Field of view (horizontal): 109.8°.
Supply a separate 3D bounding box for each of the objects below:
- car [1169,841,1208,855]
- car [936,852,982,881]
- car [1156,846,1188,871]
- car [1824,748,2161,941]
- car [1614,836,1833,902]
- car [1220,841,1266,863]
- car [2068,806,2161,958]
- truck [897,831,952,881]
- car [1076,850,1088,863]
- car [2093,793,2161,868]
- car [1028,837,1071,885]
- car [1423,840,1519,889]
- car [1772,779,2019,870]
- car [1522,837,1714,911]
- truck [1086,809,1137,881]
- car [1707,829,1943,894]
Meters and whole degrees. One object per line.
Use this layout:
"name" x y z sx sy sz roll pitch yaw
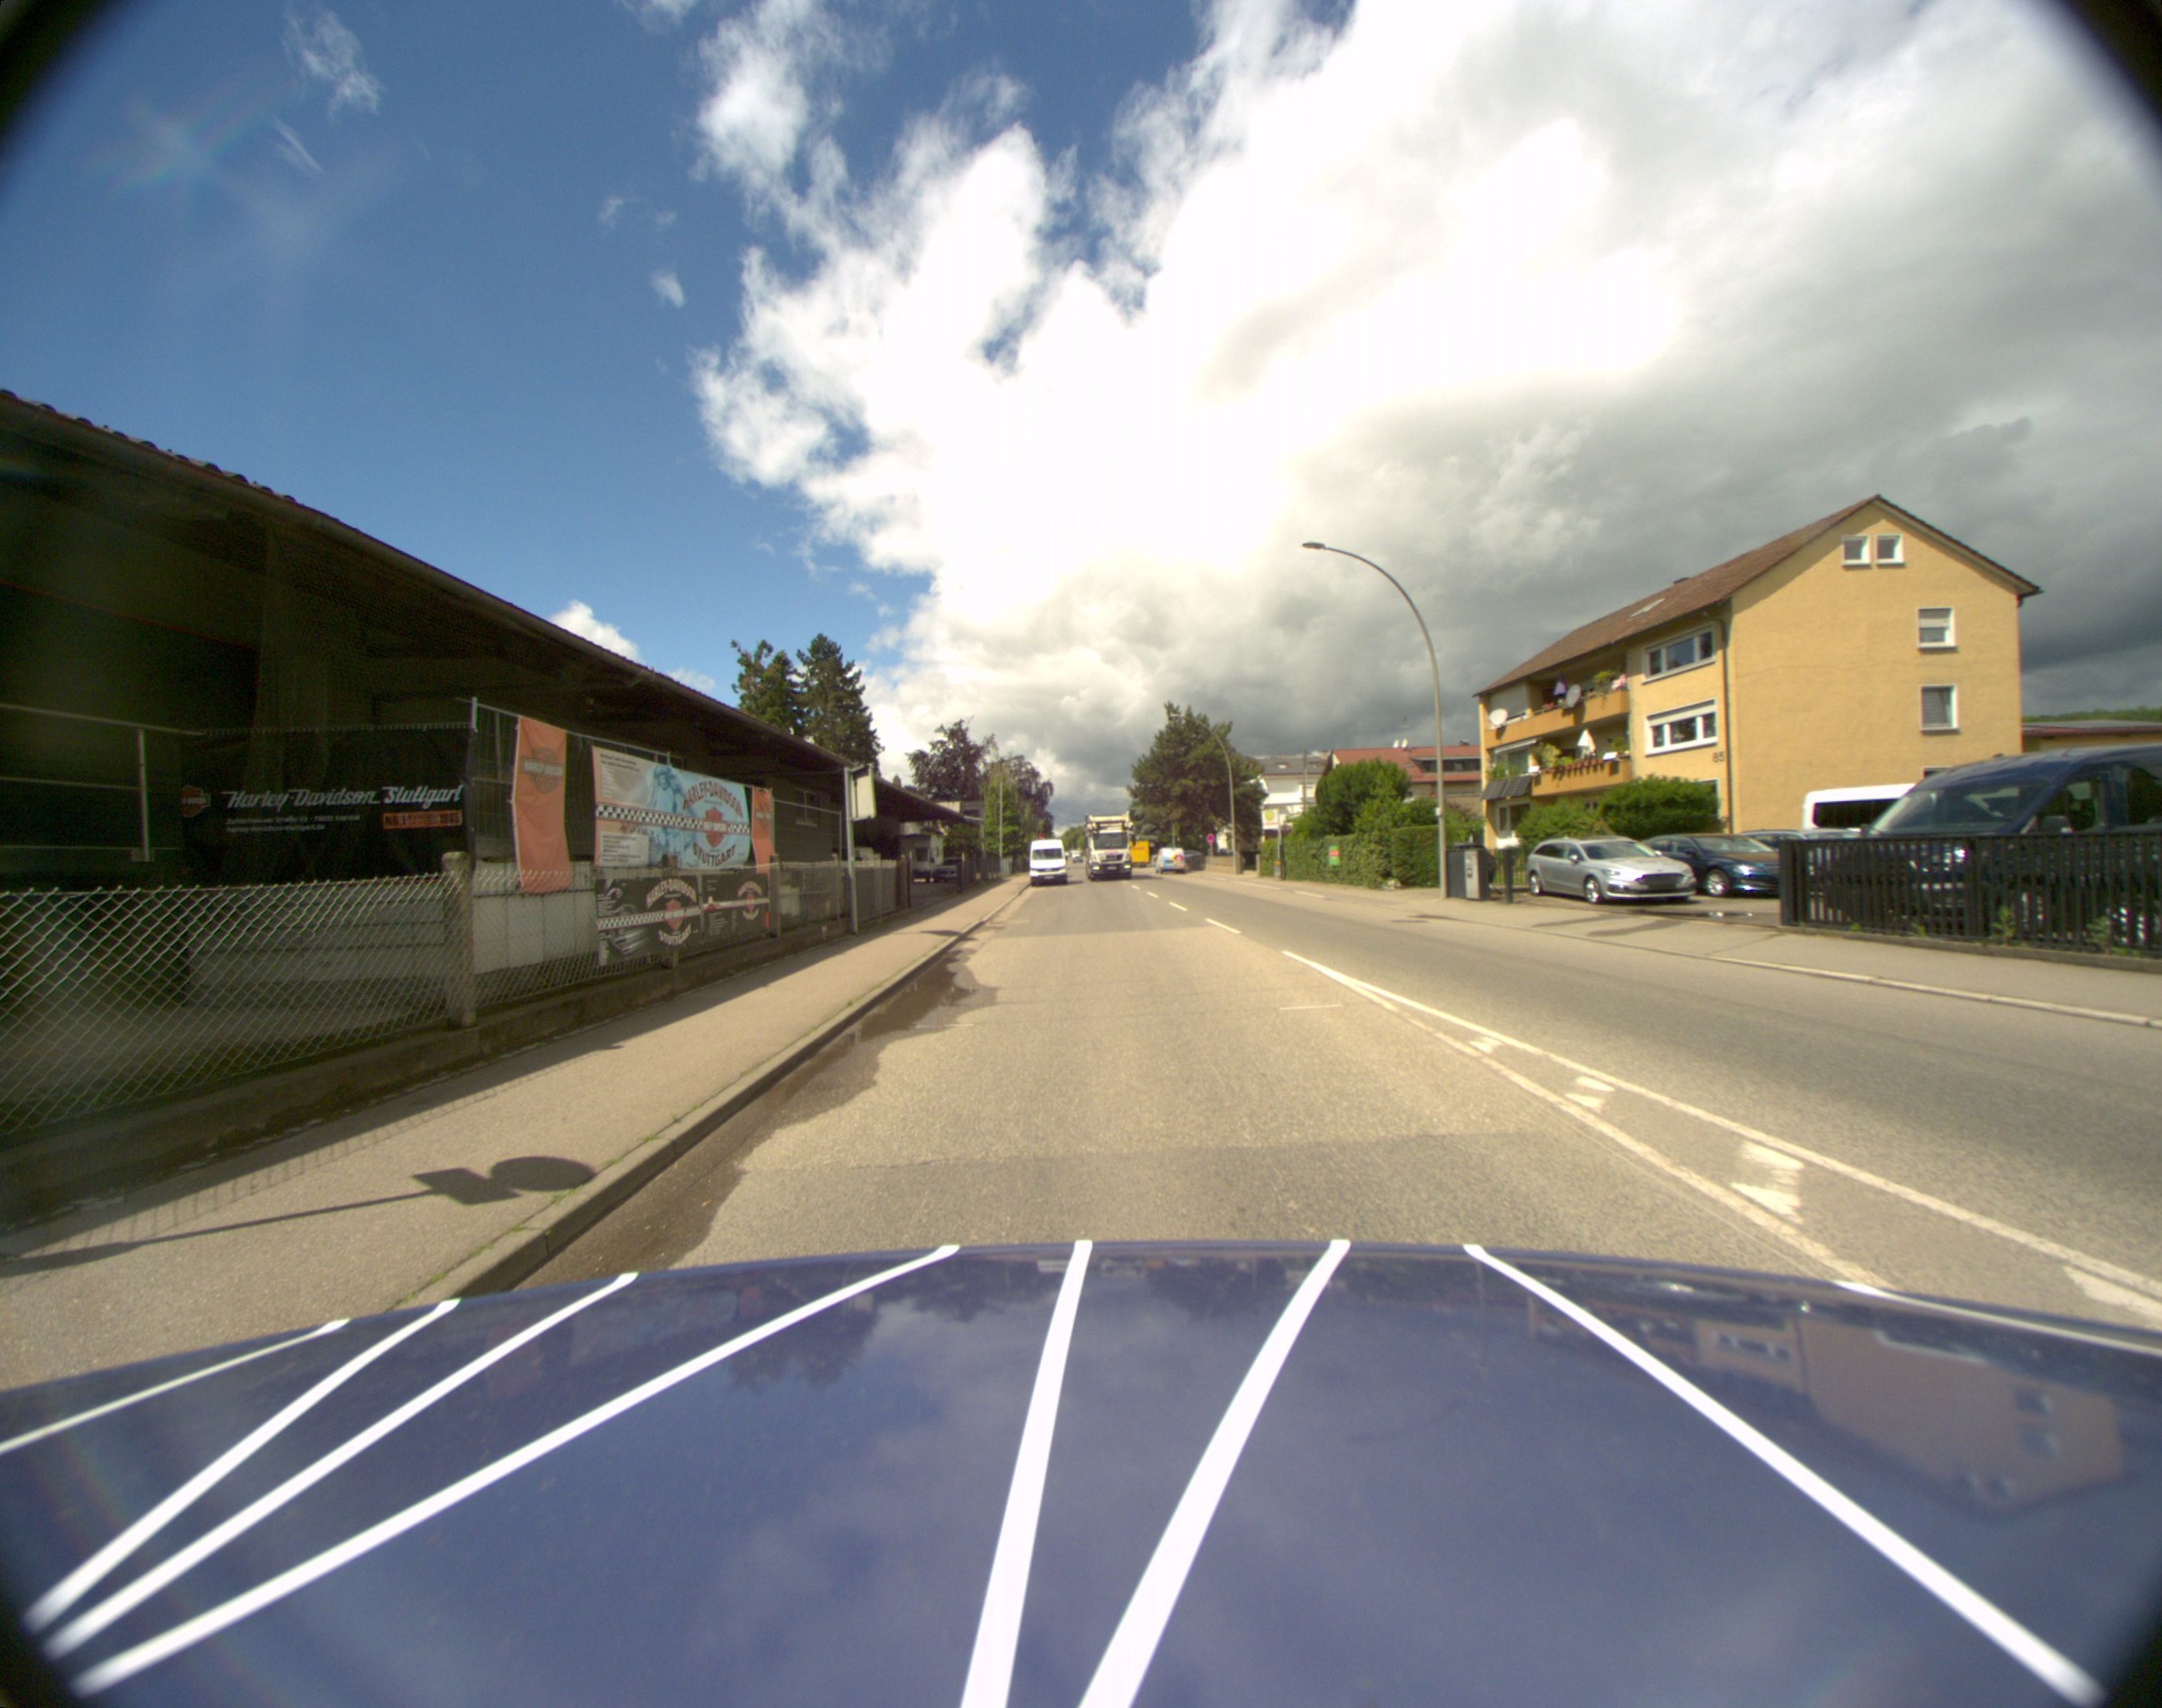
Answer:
"car" 14.171 -0.765 99.989 4.735 1.669 2.218 -2 1 -1
"car" -7.140 0.715 44.834 1.863 1.521 5.202 -2 1 0
"car" 6.561 0.295 55.149 1.730 1.671 3.999 -2 1 -2
"car" 14.221 -0.188 10.675 5.363 2.371 2.104 -2 1 2
"car" 15.101 0.293 18.200 1.885 1.334 3.999 -2 1 1
"car" 15.296 -0.163 71.845 2.003 2.002 3.990 -3 1 -32
"car" 12.380 0.276 7.030 1.813 1.612 3.621 -2 1 1
"truck" -9.474 0.084 46.397 2.091 2.812 5.202 -2 1 1
"car" 0.285 0.443 140.454 2.091 2.310 5.202 -2 1 1
"car" 28.711 -0.633 18.816 1.998 1.915 3.999 -2 1 1
"car" -1.704 0.356 43.190 2.091 2.519 5.202 -2 1 1
"car" 14.627 0.350 28.731 1.831 1.656 3.522 -2 1 1
"car" 20.429 -0.696 19.361 1.998 2.002 3.999 -2 1 1
"car" 12.337 0.386 17.852 1.887 1.450 4.352 -3 1 8
"truck" 1.726 -0.548 46.250 2.664 3.789 9.814 -2 1 1
"car" 17.909 0.139 18.611 1.883 1.364 3.999 -2 1 1
